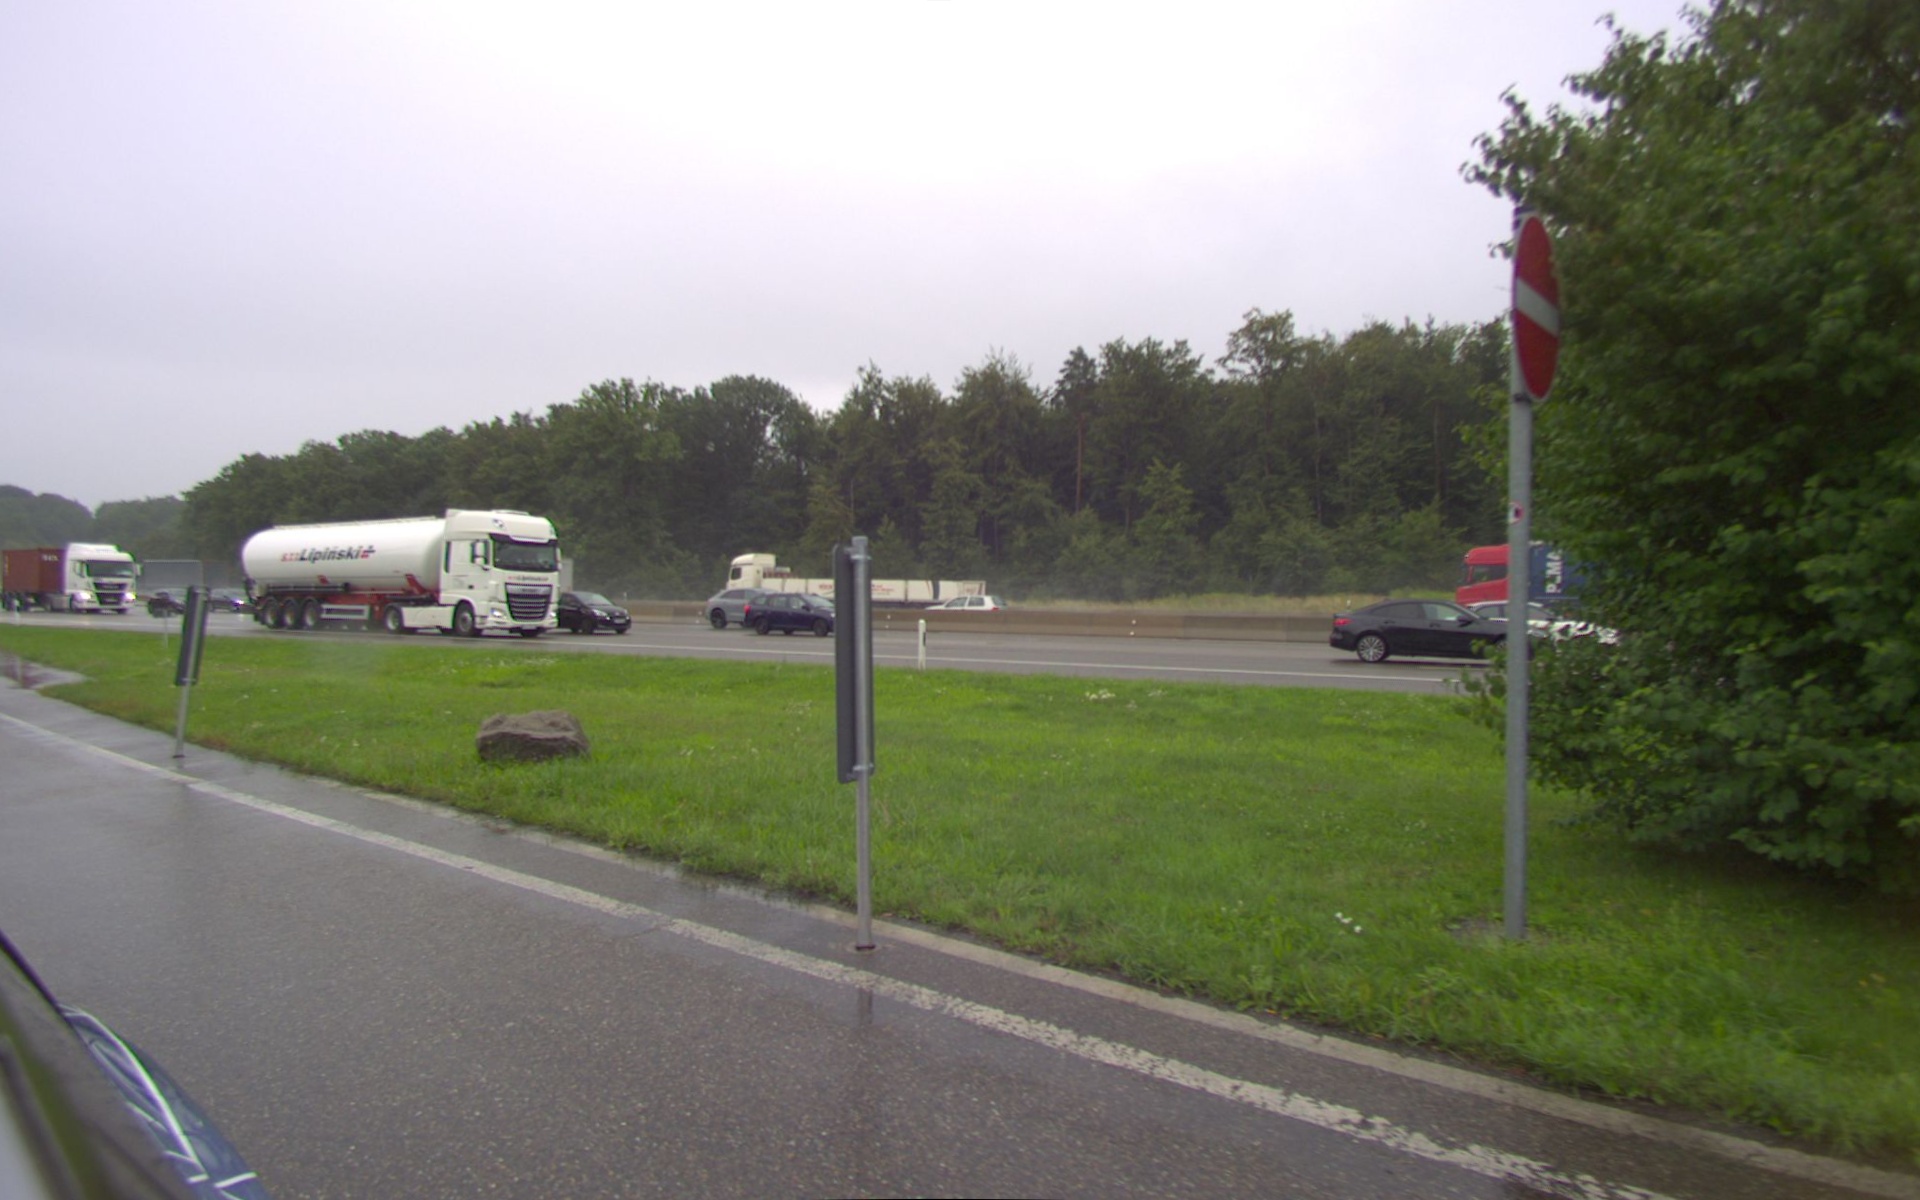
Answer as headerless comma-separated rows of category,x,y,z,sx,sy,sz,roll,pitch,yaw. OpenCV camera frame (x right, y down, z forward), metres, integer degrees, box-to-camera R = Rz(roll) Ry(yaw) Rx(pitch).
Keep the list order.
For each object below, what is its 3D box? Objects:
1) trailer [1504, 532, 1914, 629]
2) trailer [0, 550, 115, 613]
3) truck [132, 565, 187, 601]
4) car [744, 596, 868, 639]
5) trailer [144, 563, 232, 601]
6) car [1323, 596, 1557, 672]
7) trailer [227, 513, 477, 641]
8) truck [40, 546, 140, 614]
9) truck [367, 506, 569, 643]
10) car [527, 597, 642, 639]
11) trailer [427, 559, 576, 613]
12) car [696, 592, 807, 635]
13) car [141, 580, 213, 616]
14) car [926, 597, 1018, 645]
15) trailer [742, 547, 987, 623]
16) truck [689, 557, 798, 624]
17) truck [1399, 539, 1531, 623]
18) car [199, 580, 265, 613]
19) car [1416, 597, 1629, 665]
trailer,29.480,-0.824,40.981,13.077,3.522,2.176,0,4,29
trailer,-56.557,-1.164,61.948,15.074,3.530,2.664,1,4,32
truck,-88.388,-1.858,111.709,5.627,3.775,3.018,0,2,32
car,-5.427,0.587,35.607,4.108,1.425,1.805,0,0,31
trailer,-82.367,-1.866,107.848,13.366,3.840,3.005,0,2,33
car,10.472,0.685,22.275,4.481,1.492,1.868,1,0,28
trailer,-21.895,-0.752,36.110,10.999,4.056,2.743,0,1,30
truck,-49.533,-1.166,57.609,5.307,3.683,2.670,1,4,32
truck,-15.917,-0.778,32.624,6.483,4.038,2.731,0,1,30
car,-13.250,0.599,35.662,3.989,1.383,1.803,0,0,34
trailer,-35.901,-1.006,78.882,14.003,3.564,2.706,-2,4,30
car,-8.639,0.543,41.839,4.388,1.681,1.805,0,-1,31
car,-45.944,-0.120,59.375,4.097,2.029,1.979,0,1,31
car,0.517,0.942,45.149,3.638,1.750,1.666,-4,3,30
trailer,-5.600,-0.732,56.221,14.611,3.707,2.598,-1,3,30
truck,-12.955,-0.562,60.437,5.967,3.696,2.605,-1,3,30
truck,22.363,-0.885,44.942,5.146,3.535,2.177,0,4,29
car,-45.328,-0.225,63.001,3.985,2.029,1.979,0,0,31
car,13.881,0.710,25.163,4.486,1.492,1.866,1,0,31
